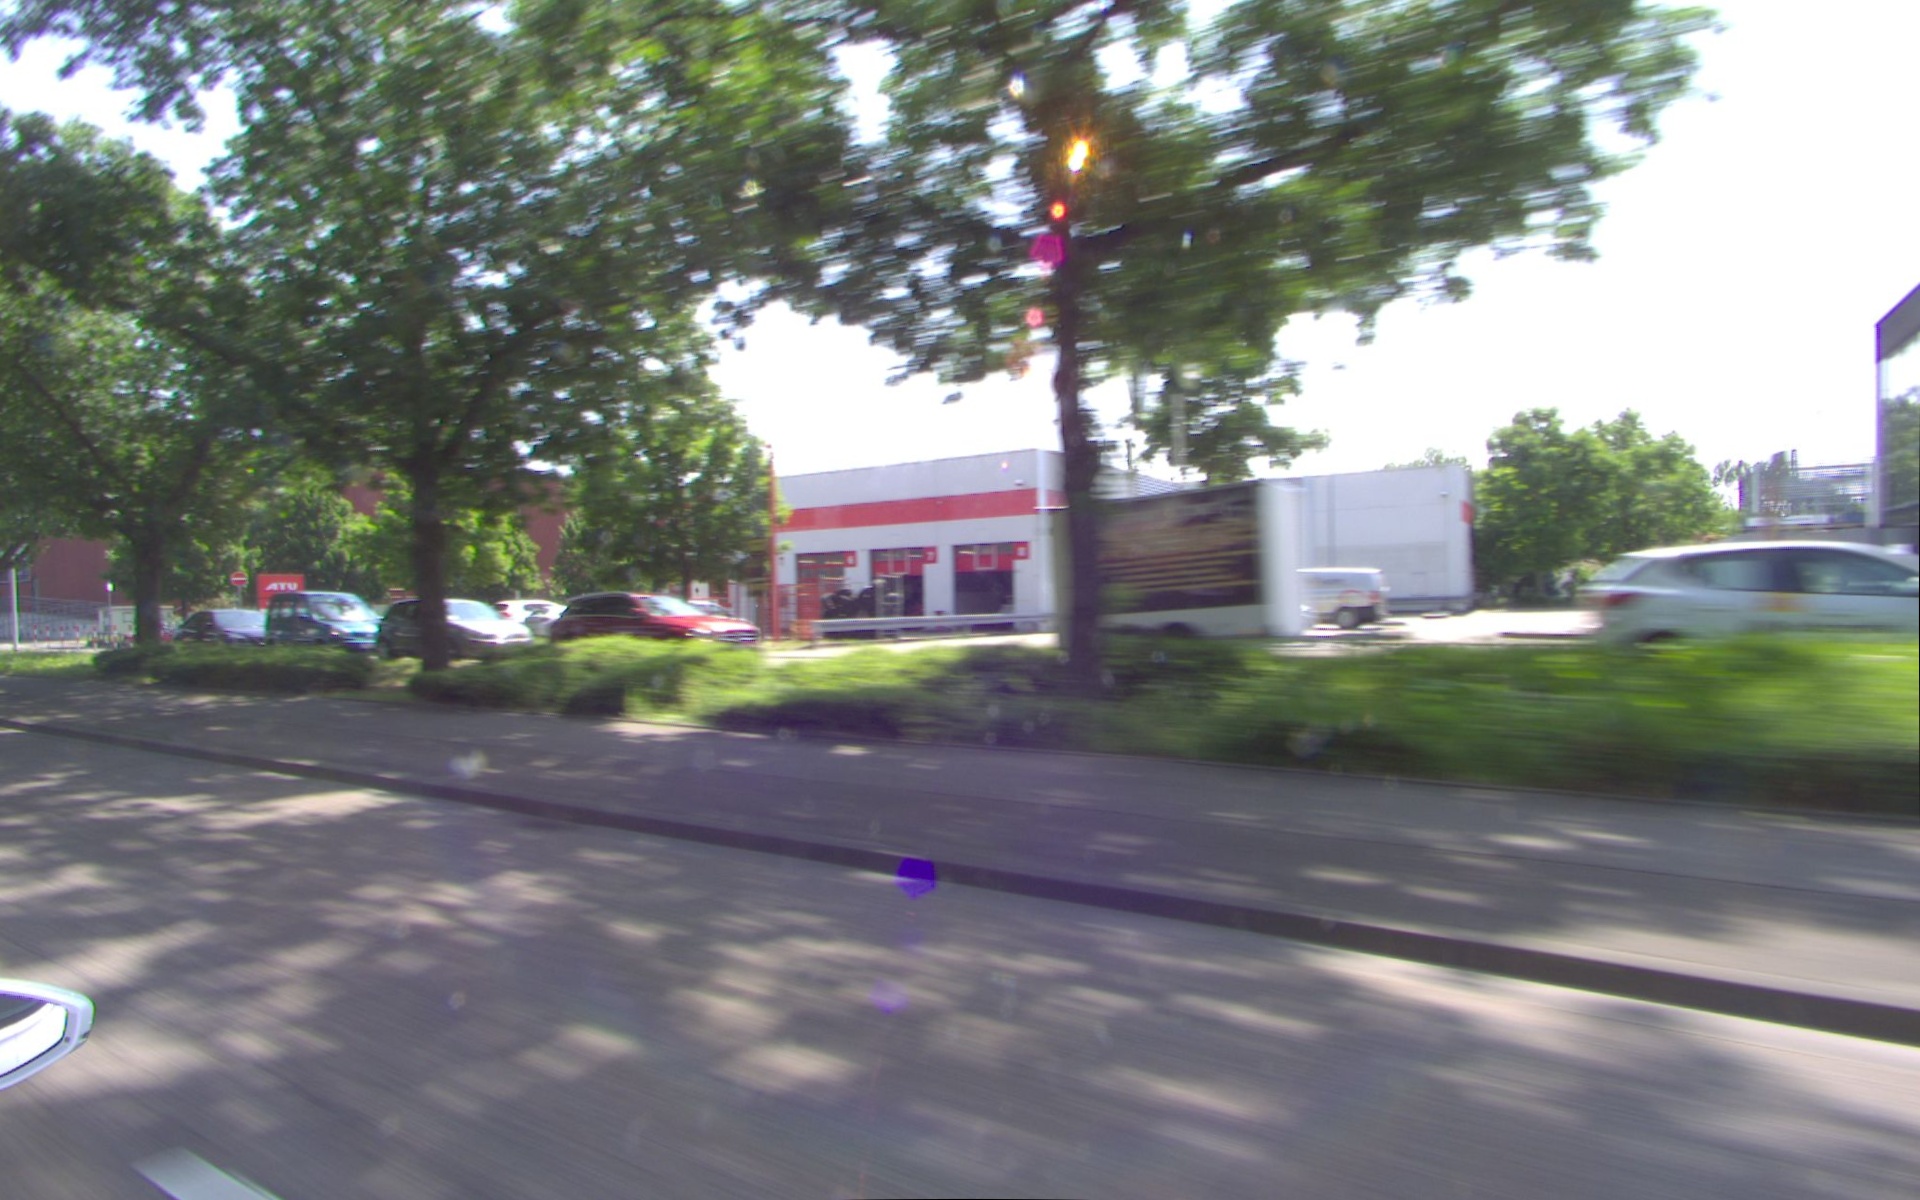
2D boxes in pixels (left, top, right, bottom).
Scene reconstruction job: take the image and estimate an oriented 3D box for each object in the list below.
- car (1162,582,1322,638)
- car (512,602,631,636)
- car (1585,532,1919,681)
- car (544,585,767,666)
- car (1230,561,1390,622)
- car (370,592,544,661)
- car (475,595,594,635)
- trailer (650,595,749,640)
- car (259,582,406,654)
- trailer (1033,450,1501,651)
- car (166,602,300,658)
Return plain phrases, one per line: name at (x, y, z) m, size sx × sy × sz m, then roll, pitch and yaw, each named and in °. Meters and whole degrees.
car at (7.361, 0.266, 26.240) m, size 3.723 × 1.357 × 1.579 m, roll -1°, pitch 0°, yaw 33°
car at (-14.940, 0.724, 38.706) m, size 1.882 × 1.237 × 3.979 m, roll -1°, pitch -1°, yaw 32°
car at (8.094, 0.079, 9.539) m, size 3.578 × 1.269 × 1.616 m, roll -2°, pitch -1°, yaw 31°
car at (-5.852, 0.464, 19.086) m, size 4.262 × 1.398 × 1.697 m, roll -1°, pitch 0°, yaw 32°
car at (11.146, -0.251, 31.980) m, size 4.565 × 1.829 × 1.706 m, roll -1°, pitch 1°, yaw 32°
car at (-11.126, 0.562, 22.098) m, size 3.849 × 1.398 × 1.697 m, roll -1°, pitch 0°, yaw 32°
car at (-16.861, 0.567, 39.823) m, size 1.914 × 1.461 × 3.979 m, roll -1°, pitch 1°, yaw 31°
trailer at (-9.867, 0.619, 38.141) m, size 1.393 × 1.603 × 3.594 m, roll 0°, pitch 1°, yaw 34°
car at (-15.672, 0.461, 24.958) m, size 3.852 × 1.659 × 1.696 m, roll -2°, pitch 0°, yaw 34°
trailer at (3.683, -0.489, 12.659) m, size 5.410 × 2.082 × 1.695 m, roll -1°, pitch 0°, yaw 35°
car at (-20.368, 0.834, 27.995) m, size 4.593 × 1.443 × 1.695 m, roll -2°, pitch -1°, yaw 36°
